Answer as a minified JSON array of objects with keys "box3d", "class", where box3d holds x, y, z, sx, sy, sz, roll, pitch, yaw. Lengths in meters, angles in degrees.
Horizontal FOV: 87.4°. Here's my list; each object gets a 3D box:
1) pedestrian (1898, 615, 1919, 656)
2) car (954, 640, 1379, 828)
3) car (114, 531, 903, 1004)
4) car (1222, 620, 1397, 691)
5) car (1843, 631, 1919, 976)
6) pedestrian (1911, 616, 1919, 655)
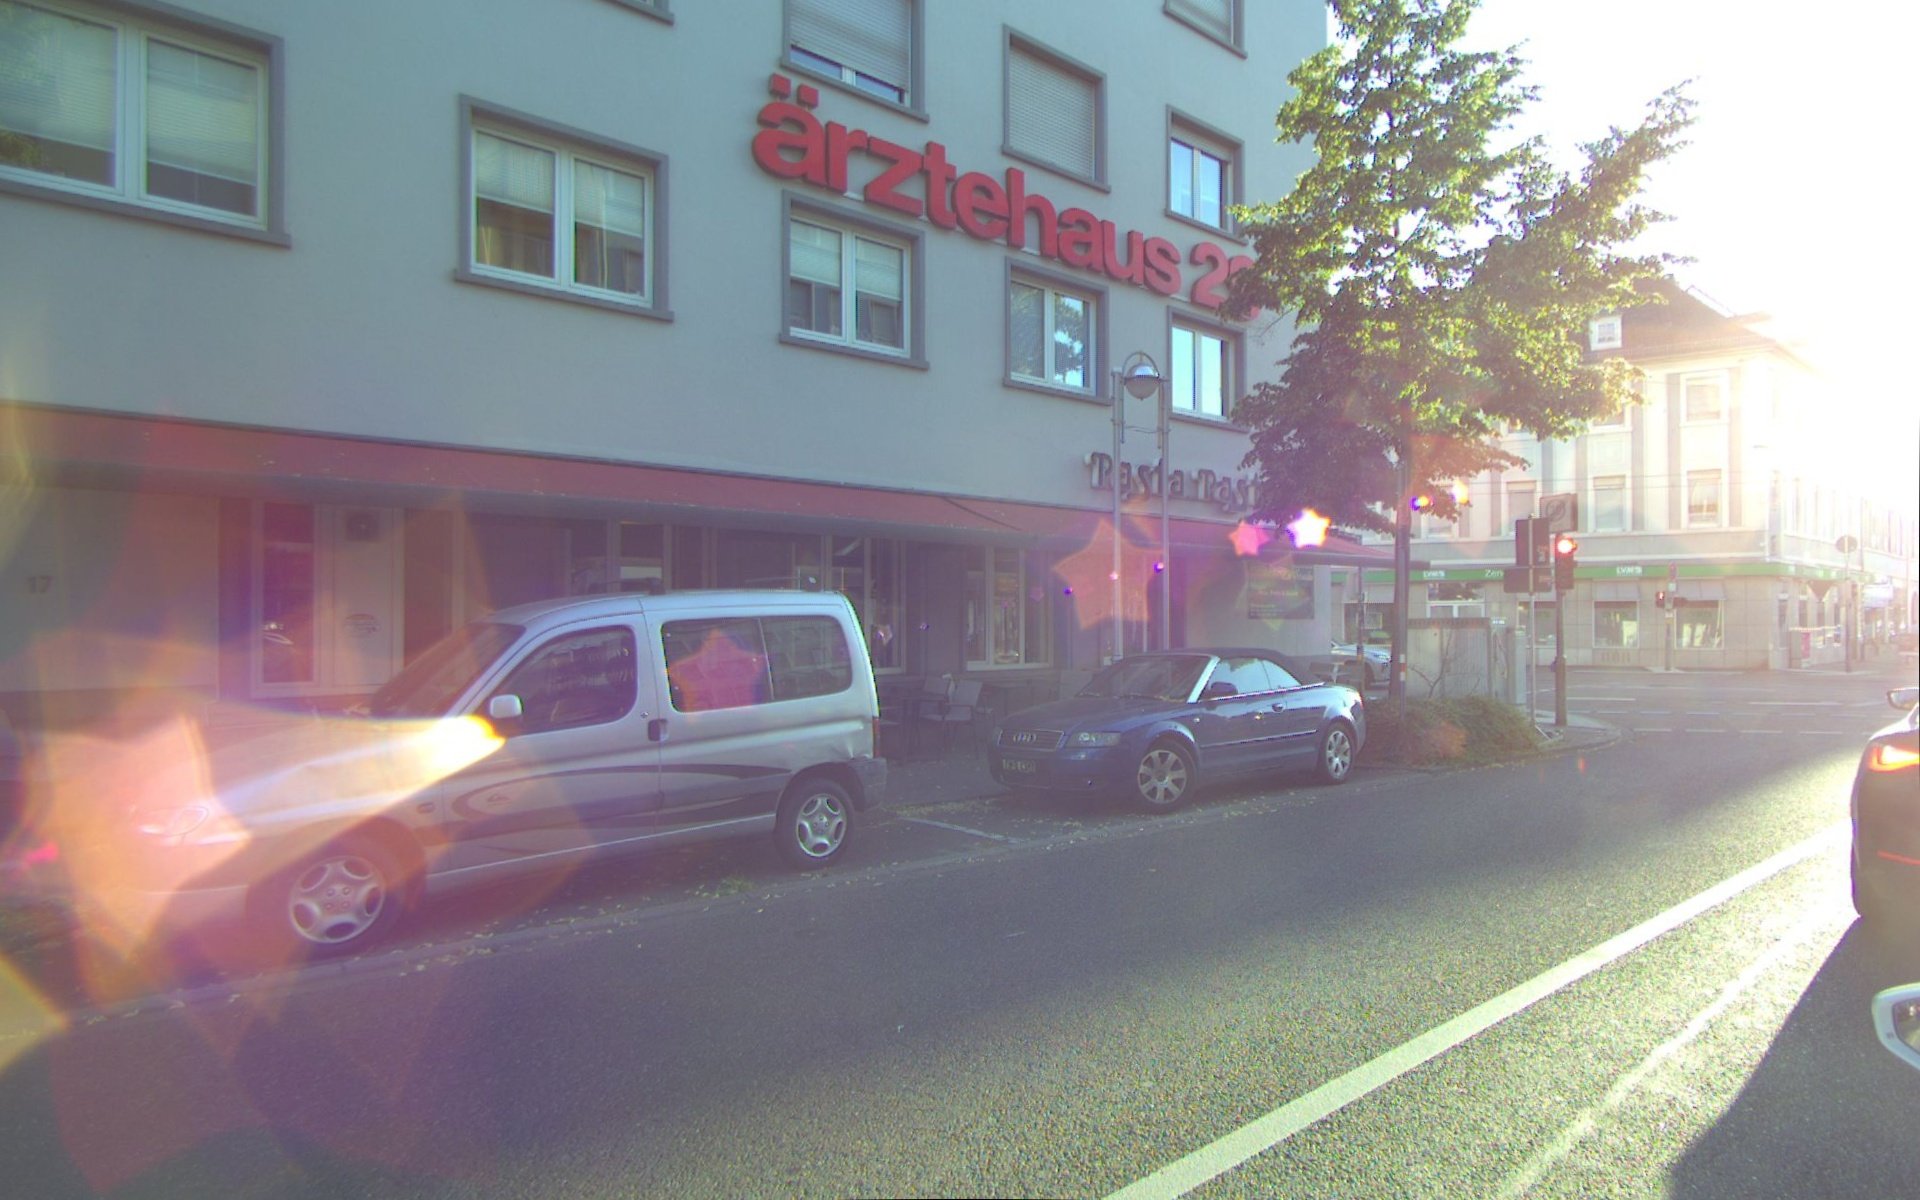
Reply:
[{"box3d":[45.407,1.700,48.095,0.626,1.901,0.638,1,0,-38],"class":"pedestrian"},{"box3d":[2.123,1.123,9.695,4.244,1.434,1.710,2,-4,-39],"class":"car"},{"box3d":[-2.435,0.760,6.042,4.022,1.912,1.655,2,-4,-41],"class":"car"},{"box3d":[9.271,1.412,26.677,4.212,1.730,1.803,0,-1,27],"class":"car"},{"box3d":[6.063,0.901,5.105,4.188,1.447,1.723,1,-1,-39],"class":"car"},{"box3d":[46.659,1.729,48.759,0.673,1.901,0.610,1,0,-42],"class":"pedestrian"}]
